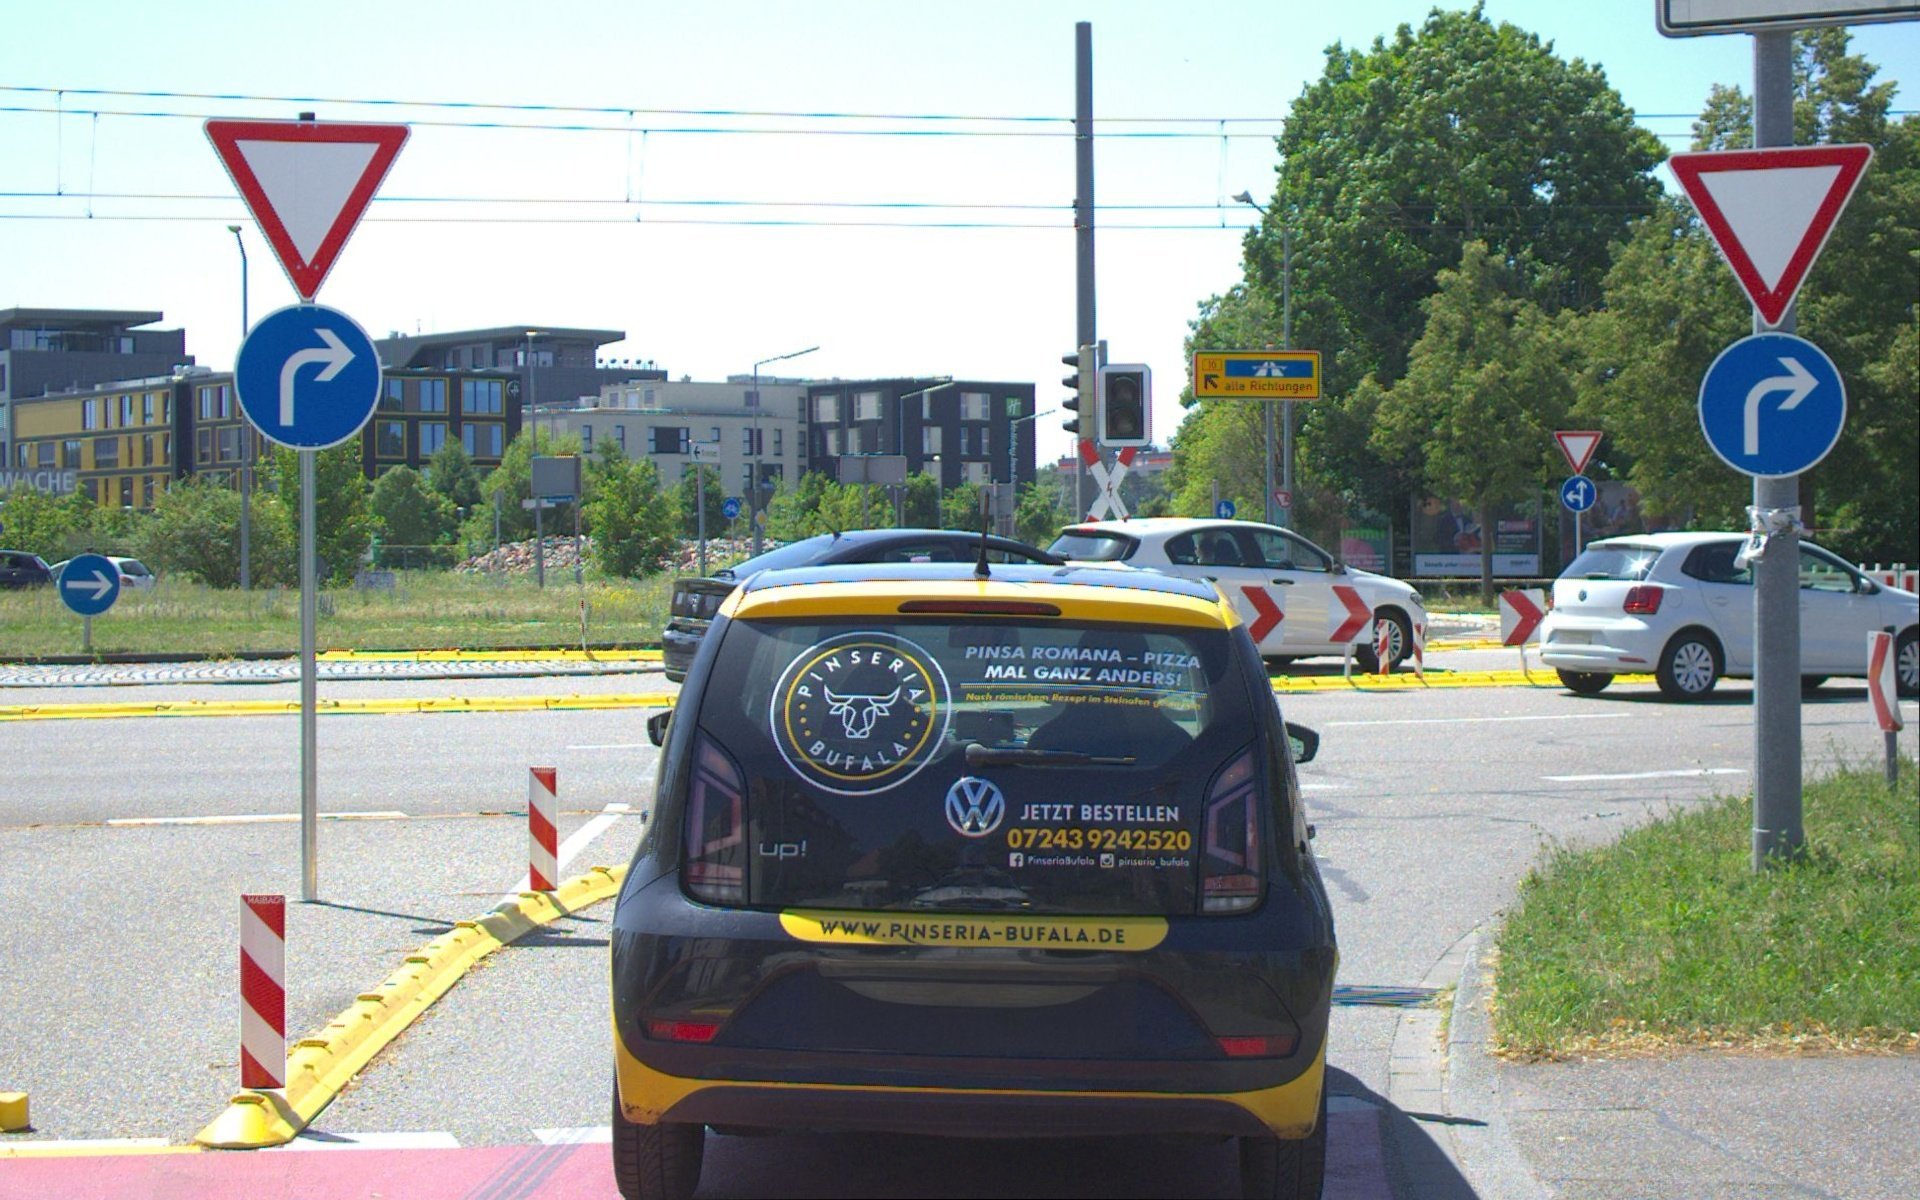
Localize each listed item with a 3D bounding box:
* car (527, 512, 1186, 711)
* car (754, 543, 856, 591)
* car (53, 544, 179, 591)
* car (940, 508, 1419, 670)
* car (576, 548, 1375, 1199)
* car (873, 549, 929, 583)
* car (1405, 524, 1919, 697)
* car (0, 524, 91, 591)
[{"bbox_3d":[-0.793,0.072,26.944,4.742,1.444,2.000,0,1,-27],"label":"car"},{"bbox_3d":[-4.476,-0.962,99.524,1.770,1.340,3.318,0,1,21],"label":"car"},{"bbox_3d":[-21.407,-0.829,87.268,2.886,1.151,1.205,0,1,1],"label":"car"},{"bbox_3d":[2.171,-0.146,33.545,4.353,1.481,2.000,-1,1,-34],"label":"car"},{"bbox_3d":[-0.013,0.604,9.032,1.618,1.446,3.987,1,1,-1],"label":"car"},{"bbox_3d":[-1.985,-1.164,116.247,1.493,1.086,3.519,0,1,6],"label":"car"},{"bbox_3d":[6.293,0.082,30.519,4.336,1.444,1.857,0,1,-27],"label":"car"},{"bbox_3d":[-21.322,-0.946,75.684,4.034,1.456,1.730,-1,1,-23],"label":"car"}]
